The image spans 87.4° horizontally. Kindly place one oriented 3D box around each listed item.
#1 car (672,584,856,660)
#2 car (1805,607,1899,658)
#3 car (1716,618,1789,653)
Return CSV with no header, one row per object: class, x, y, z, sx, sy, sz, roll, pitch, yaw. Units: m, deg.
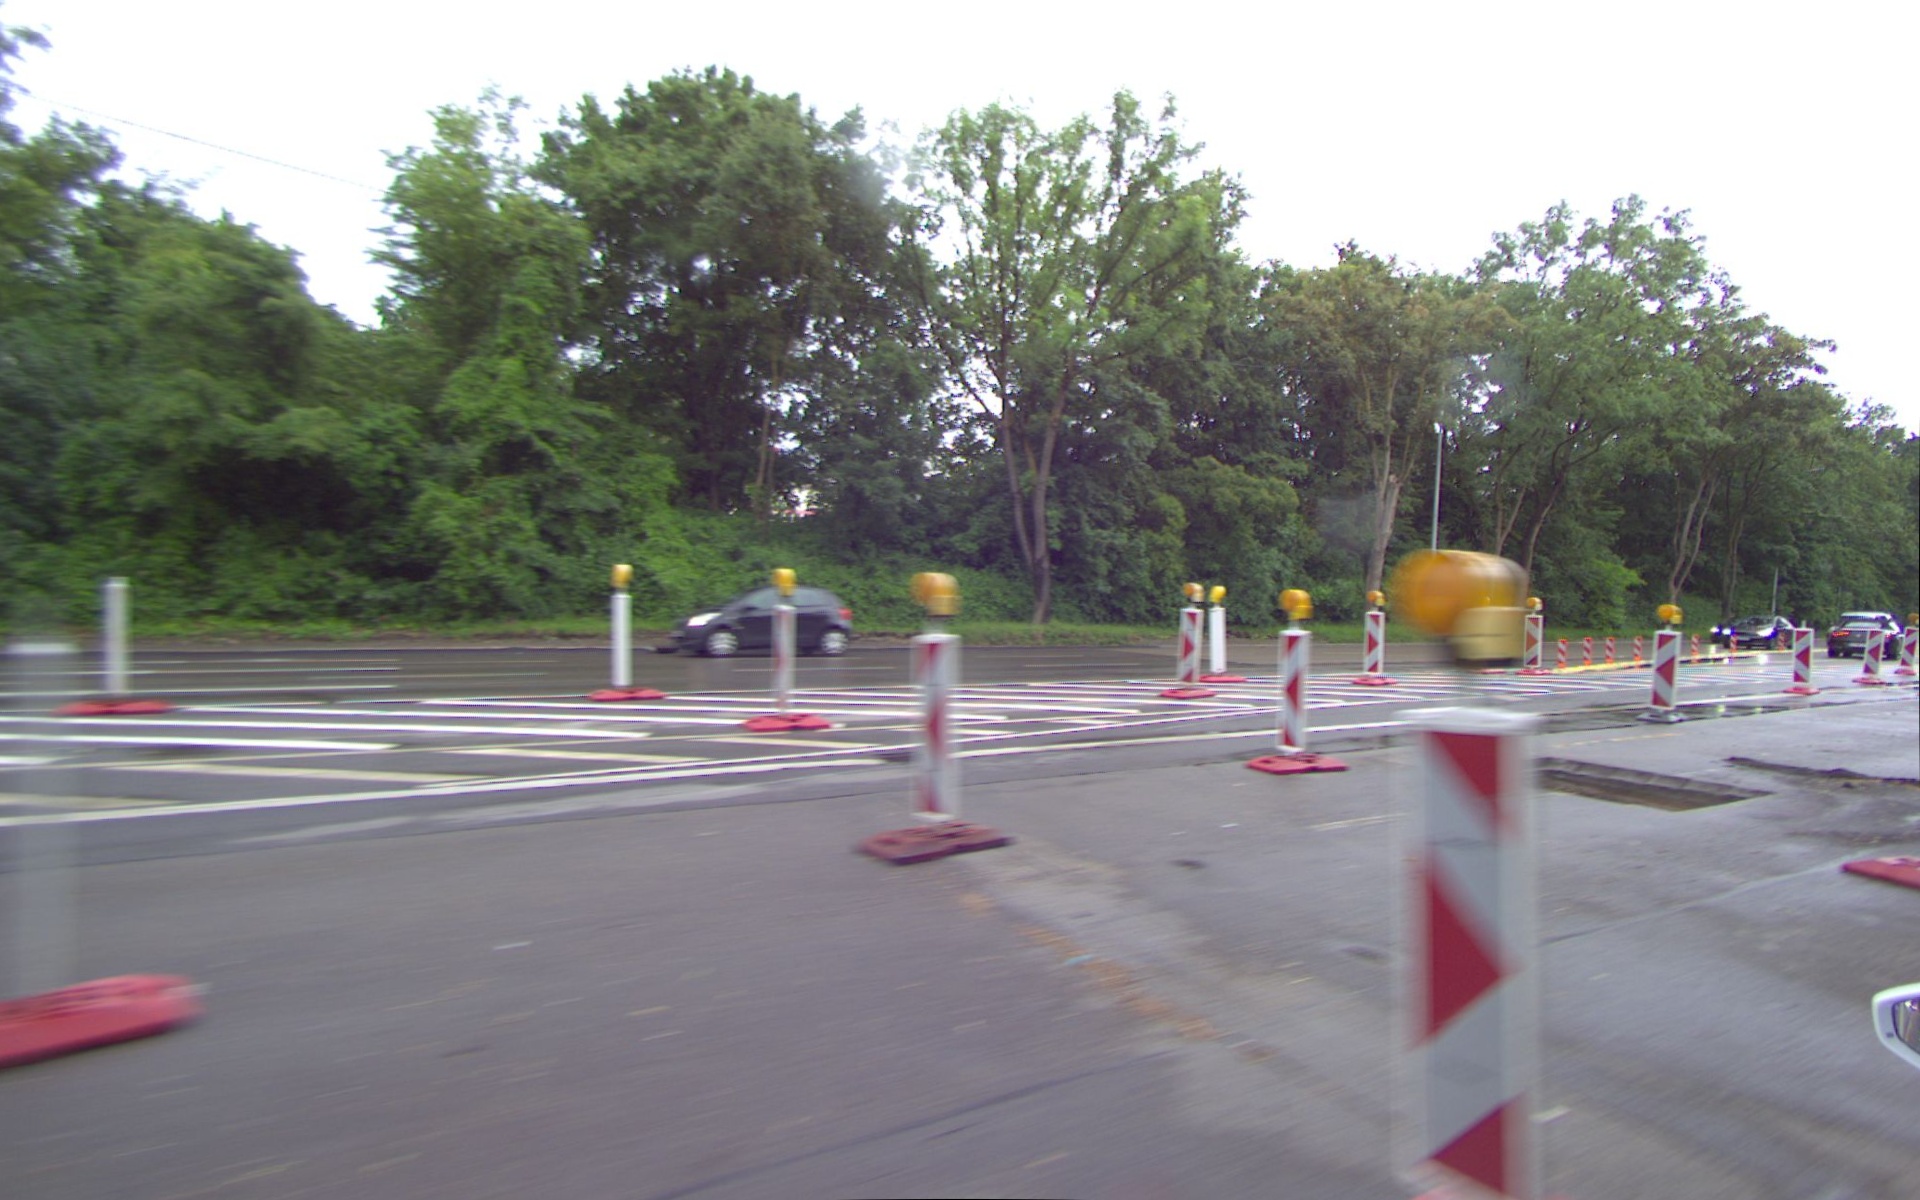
car,-4.109,0.460,21.158,3.498,1.476,1.518,1,-1,-31
car,32.228,1.125,36.274,3.964,1.512,1.847,-2,4,-38
car,33.632,1.483,42.616,3.787,1.426,1.418,1,0,-35
